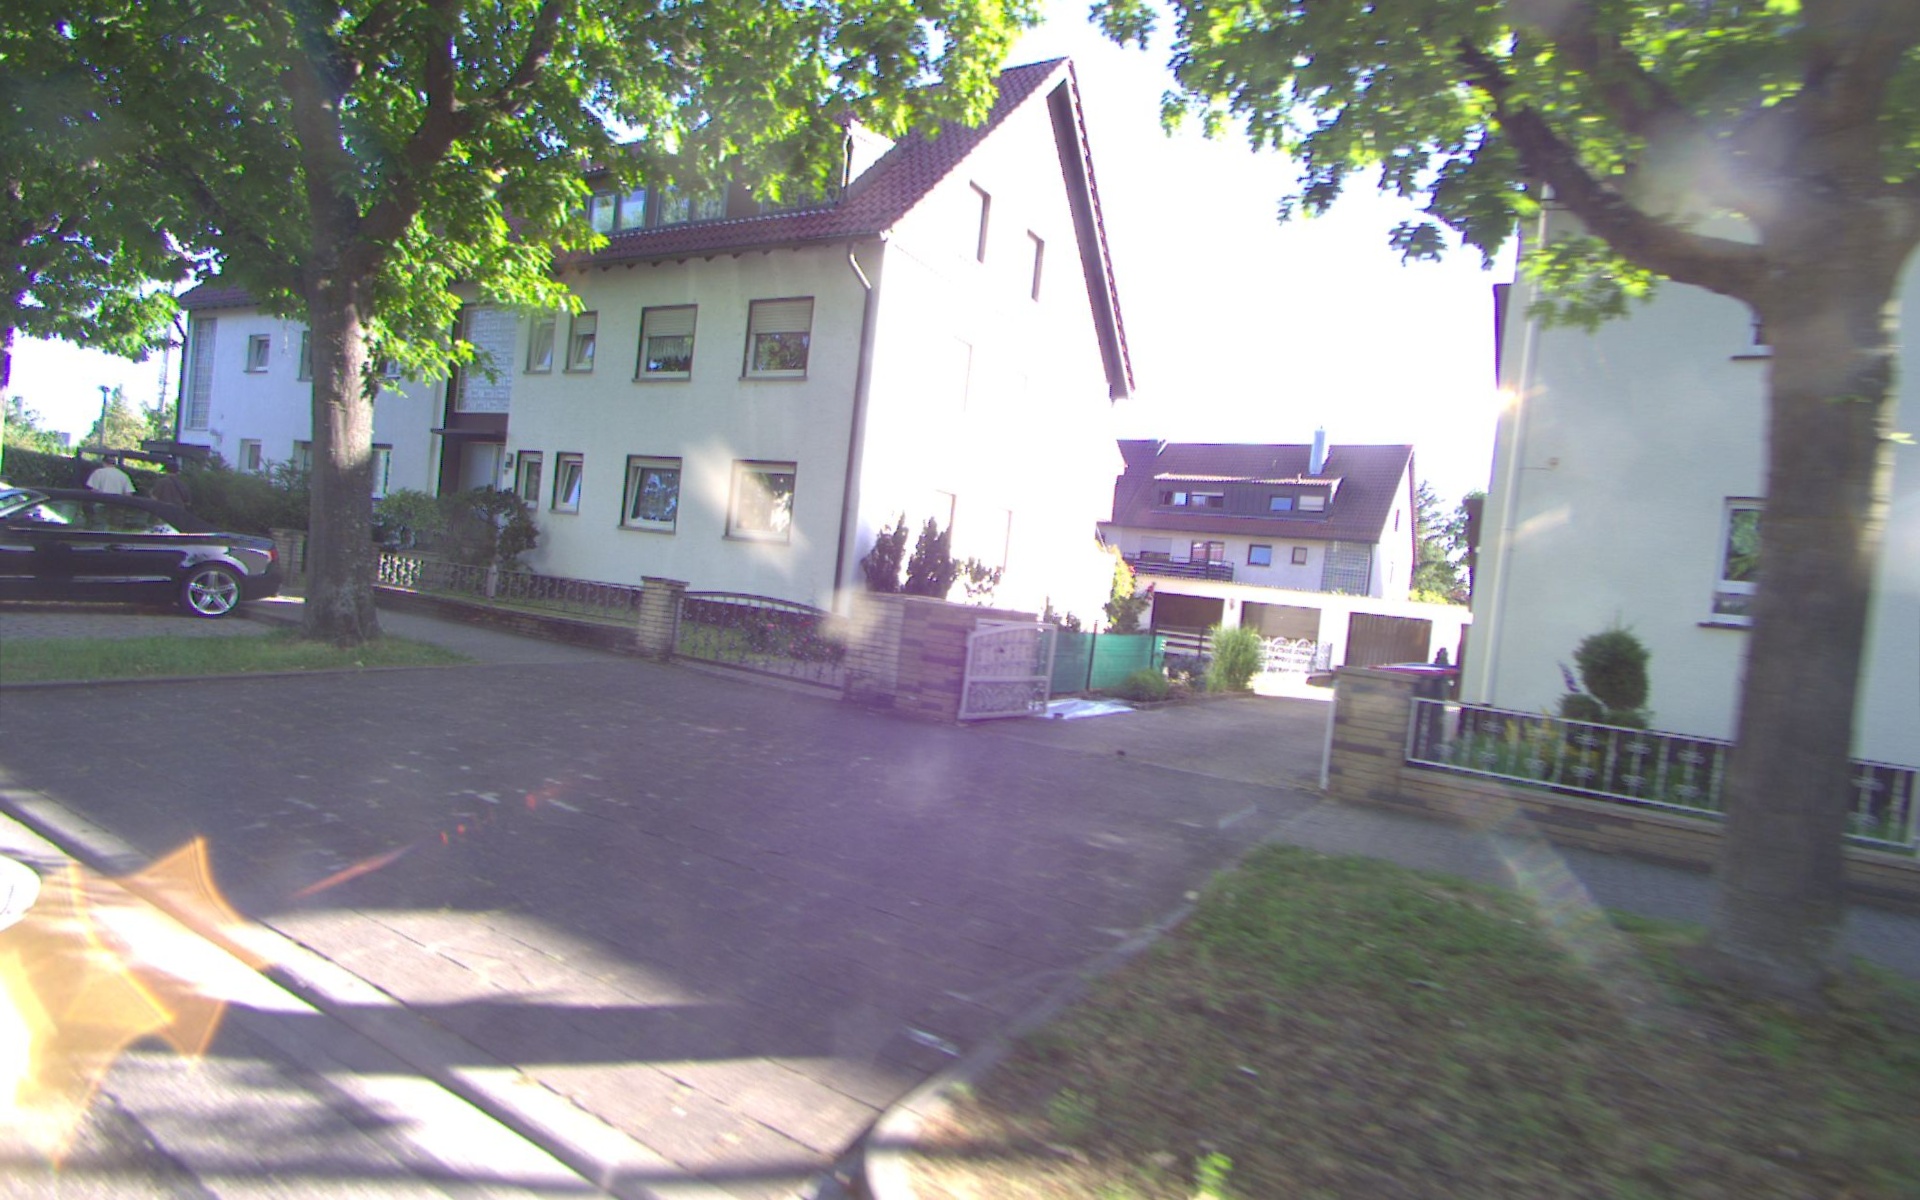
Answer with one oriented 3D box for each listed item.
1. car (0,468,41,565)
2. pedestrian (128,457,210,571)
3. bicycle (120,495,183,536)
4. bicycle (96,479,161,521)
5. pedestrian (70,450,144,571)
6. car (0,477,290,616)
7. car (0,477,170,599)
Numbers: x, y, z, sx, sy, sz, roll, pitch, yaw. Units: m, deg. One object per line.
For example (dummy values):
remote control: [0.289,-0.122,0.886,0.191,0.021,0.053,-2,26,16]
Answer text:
car: [-17.138,-1.531,15.323,1.767,1.522,4.279,8,2,32]
pedestrian: [-13.723,-1.476,17.465,0.699,1.851,0.835,7,2,33]
bicycle: [-24.576,-2.557,30.608,0.522,1.068,1.672,6,1,-1]
bicycle: [-25.237,-3.028,30.571,0.522,1.068,1.672,6,1,-1]
pedestrian: [-14.191,-1.491,16.733,0.909,1.897,0.608,7,2,33]
car: [-10.553,-0.658,11.539,1.842,1.380,4.348,7,1,31]
car: [-13.011,-0.921,12.788,1.767,1.432,4.279,8,2,32]
